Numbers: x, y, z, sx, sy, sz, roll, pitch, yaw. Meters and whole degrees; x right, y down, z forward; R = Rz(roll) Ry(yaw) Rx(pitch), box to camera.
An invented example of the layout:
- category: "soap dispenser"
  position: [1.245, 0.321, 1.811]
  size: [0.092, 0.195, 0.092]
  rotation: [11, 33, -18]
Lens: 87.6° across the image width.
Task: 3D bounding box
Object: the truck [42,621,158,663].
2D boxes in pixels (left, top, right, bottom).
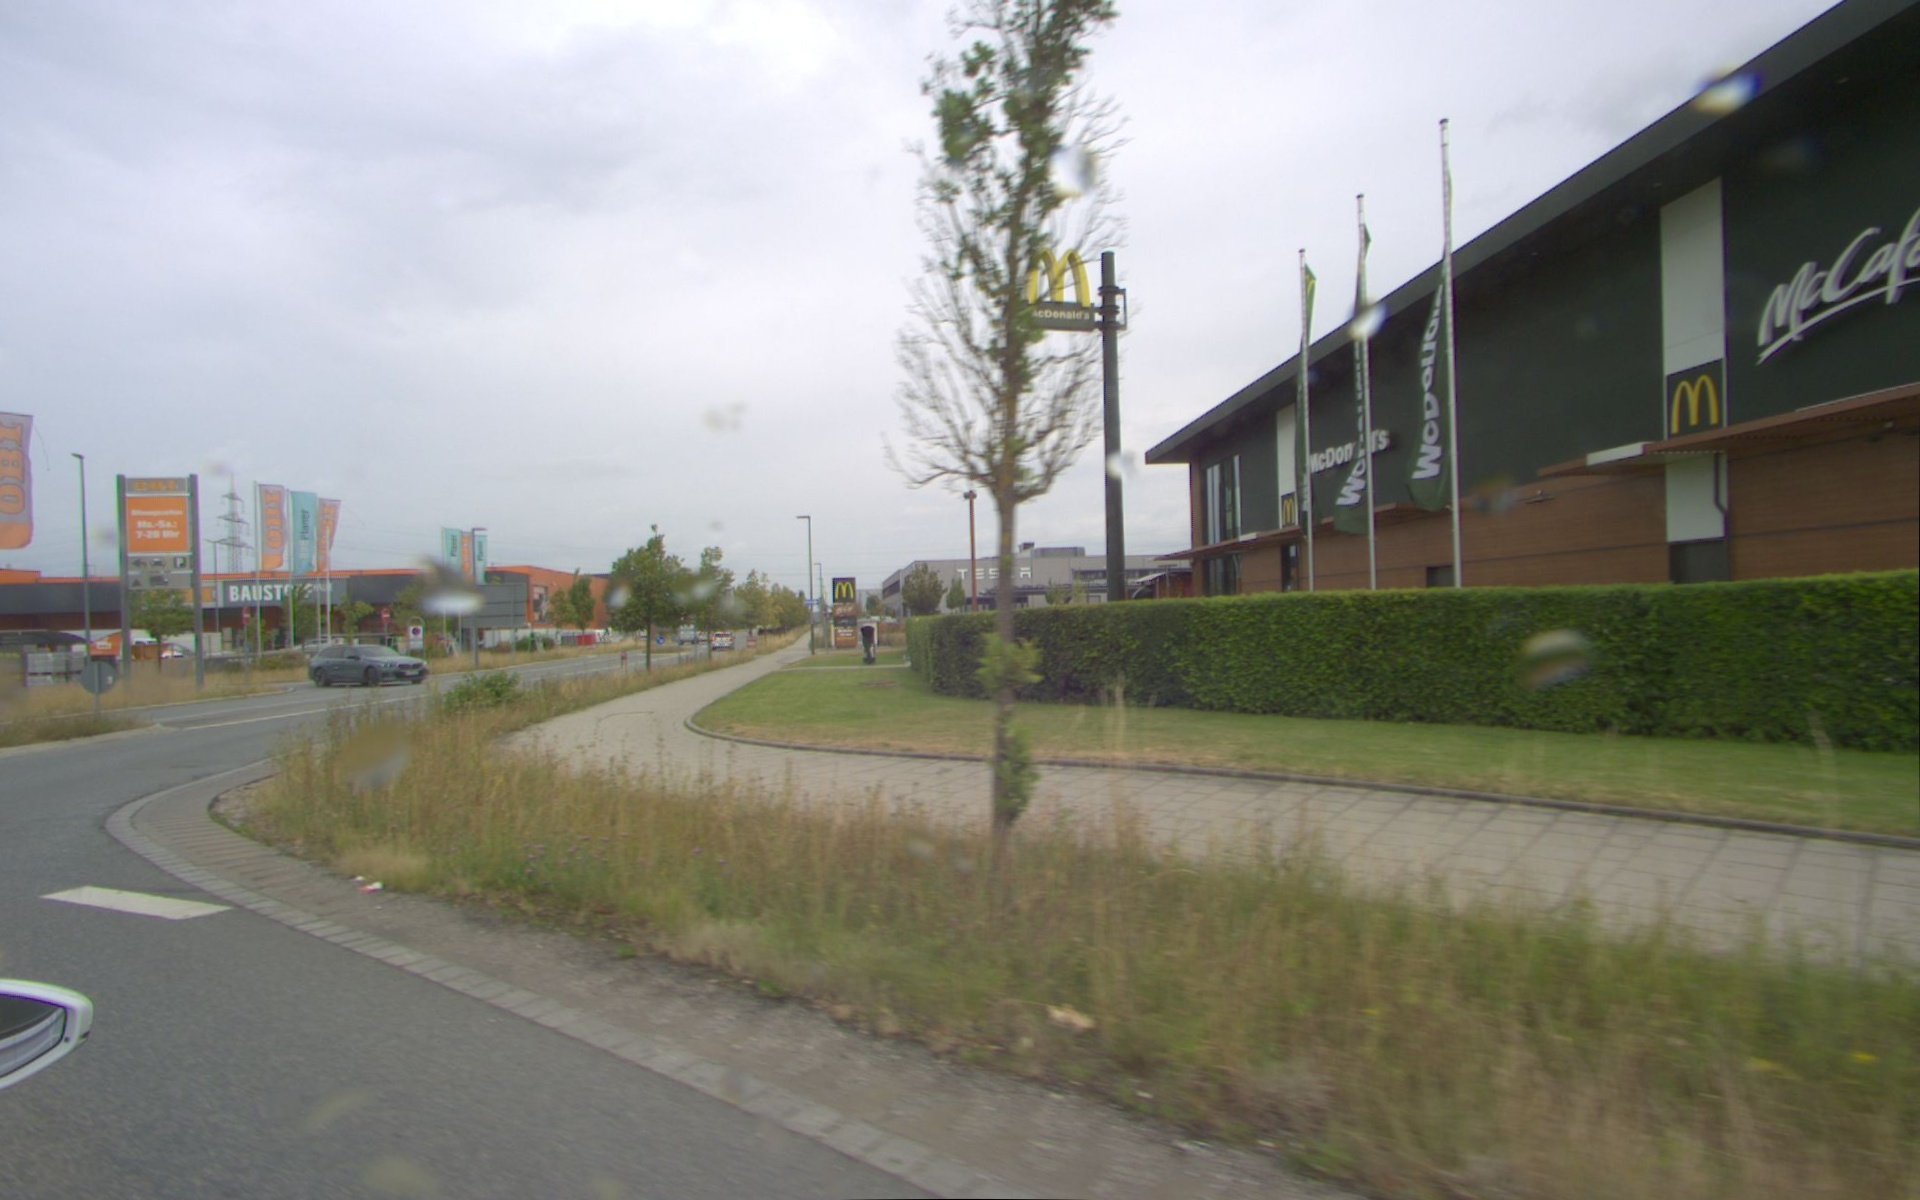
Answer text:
- category: "truck"
  position: [-58.775, 2.883, 68.565]
  size: [5.447, 2.515, 2.440]
  rotation: [-3, -2, -12]

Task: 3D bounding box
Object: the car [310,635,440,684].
- category: "car"
  position: [-21.529, 2.196, 36.839]
  size: [4.613, 1.525, 1.992]
  rotation: [-4, -3, 28]

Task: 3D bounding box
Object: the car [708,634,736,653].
- category: "car"
  position: [-19.195, 3.476, 80.853]
  size: [1.779, 1.482, 3.999]
  rotation: [1, -2, -8]
